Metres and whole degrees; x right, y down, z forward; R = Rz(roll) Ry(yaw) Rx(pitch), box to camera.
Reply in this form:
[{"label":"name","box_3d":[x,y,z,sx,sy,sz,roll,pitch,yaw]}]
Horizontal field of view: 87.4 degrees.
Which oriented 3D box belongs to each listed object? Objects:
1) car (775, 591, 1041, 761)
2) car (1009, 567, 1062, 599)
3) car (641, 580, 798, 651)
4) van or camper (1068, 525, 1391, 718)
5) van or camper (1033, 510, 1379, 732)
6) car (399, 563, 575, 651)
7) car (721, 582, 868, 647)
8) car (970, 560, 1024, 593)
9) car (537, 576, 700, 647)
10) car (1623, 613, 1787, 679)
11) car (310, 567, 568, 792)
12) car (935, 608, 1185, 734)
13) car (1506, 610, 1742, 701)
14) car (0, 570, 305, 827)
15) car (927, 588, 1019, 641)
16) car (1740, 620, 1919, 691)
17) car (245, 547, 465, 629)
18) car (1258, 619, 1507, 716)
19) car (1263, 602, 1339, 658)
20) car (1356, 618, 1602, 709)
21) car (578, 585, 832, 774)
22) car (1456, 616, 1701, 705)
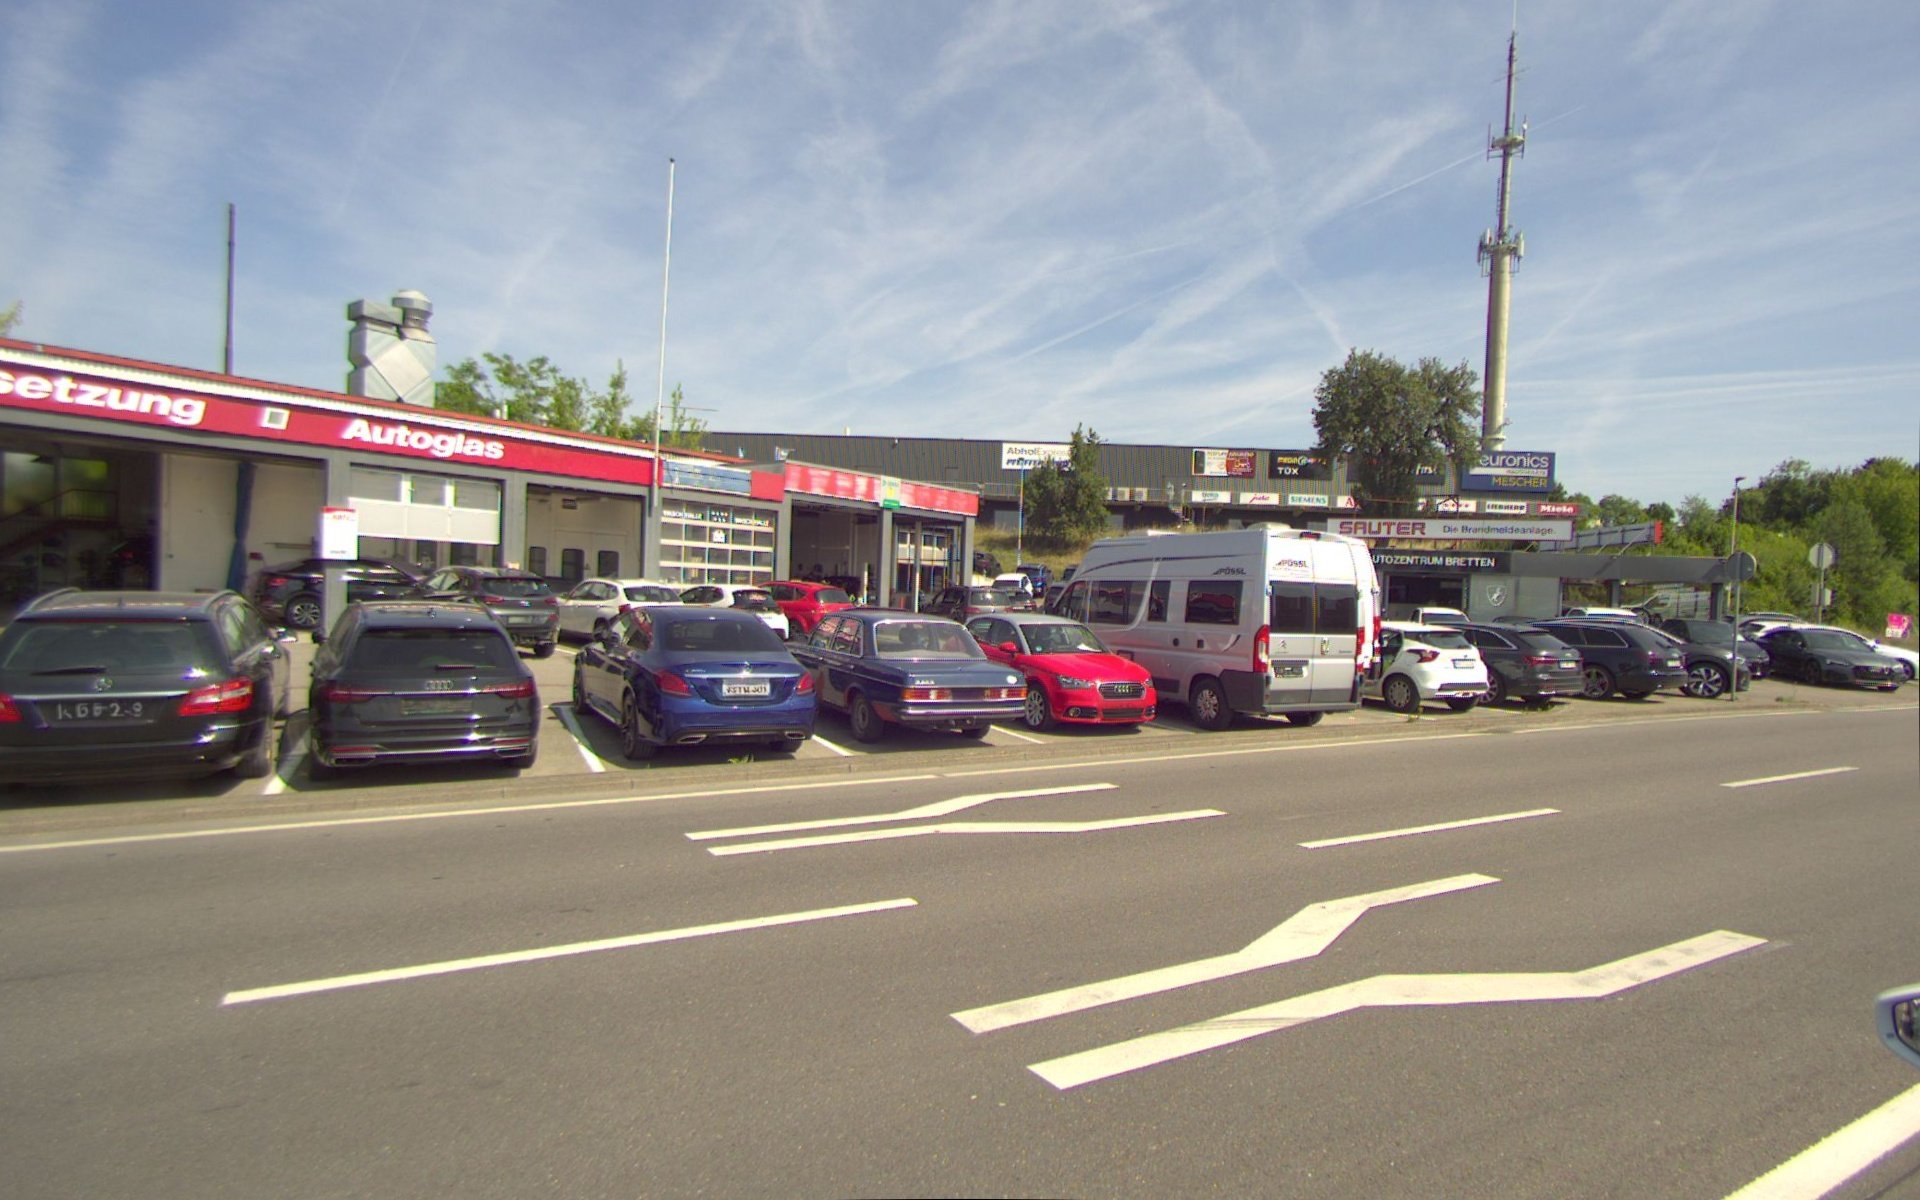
[{"label":"car","box_3d":[-0.792,0.795,12.326,1.688,1.505,3.688,2,4,-31]},{"label":"car","box_3d":[3.862,-0.841,50.821,1.702,1.470,3.749,2,0,19]},{"label":"car","box_3d":[-5.925,0.346,24.626,3.769,1.609,1.762,1,-1,38]},{"label":"van or camper","box_3d":[4.595,0.308,18.349,2.261,2.912,5.866,1,0,-28]},{"label":"van or camper","box_3d":[3.457,0.262,15.378,2.183,2.768,5.224,1,0,-28]},{"label":"car","box_3d":[-9.335,0.118,19.698,3.894,1.553,1.760,1,-1,42]},{"label":"car","box_3d":[-4.424,0.366,26.672,3.769,1.609,1.762,1,-1,38]},{"label":"car","box_3d":[1.943,-1.184,51.512,1.702,1.470,3.749,2,0,19]},{"label":"car","box_3d":[-7.632,0.236,22.318,3.773,1.451,1.760,1,-1,41]},{"label":"car","box_3d":[21.128,1.255,28.696,1.806,1.715,3.829,1,-1,0]},{"label":"car","box_3d":[-5.026,0.562,9.573,1.781,1.505,3.824,2,4,-31]},{"label":"car","box_3d":[1.264,0.886,14.057,1.790,1.500,3.579,1,-1,-28]},{"label":"car","box_3d":[13.996,1.103,21.387,1.821,1.697,3.798,2,-1,-30]},{"label":"car","box_3d":[-7.029,0.632,8.968,1.752,1.505,4.435,2,4,-31]},{"label":"car","box_3d":[0.354,0.466,33.390,1.743,1.609,3.810,1,-1,-21]},{"label":"car","box_3d":[23.569,1.421,27.389,2.089,1.715,4.530,1,-1,16]},{"label":"car","box_3d":[-13.675,-0.215,22.818,3.985,1.694,1.888,2,-1,-42]},{"label":"car","box_3d":[7.438,1.118,18.025,1.821,1.467,3.798,2,-1,-30]},{"label":"car","box_3d":[10.797,0.926,31.651,1.736,1.609,3.824,1,-1,27]},{"label":"car","box_3d":[9.730,1.124,19.116,1.821,1.467,3.798,2,-1,-30]},{"label":"car","box_3d":[-2.903,0.676,10.838,1.688,1.577,3.688,0,2,-31]},{"label":"car","box_3d":[12.293,1.140,20.204,1.821,1.560,3.798,2,-1,-30]}]
